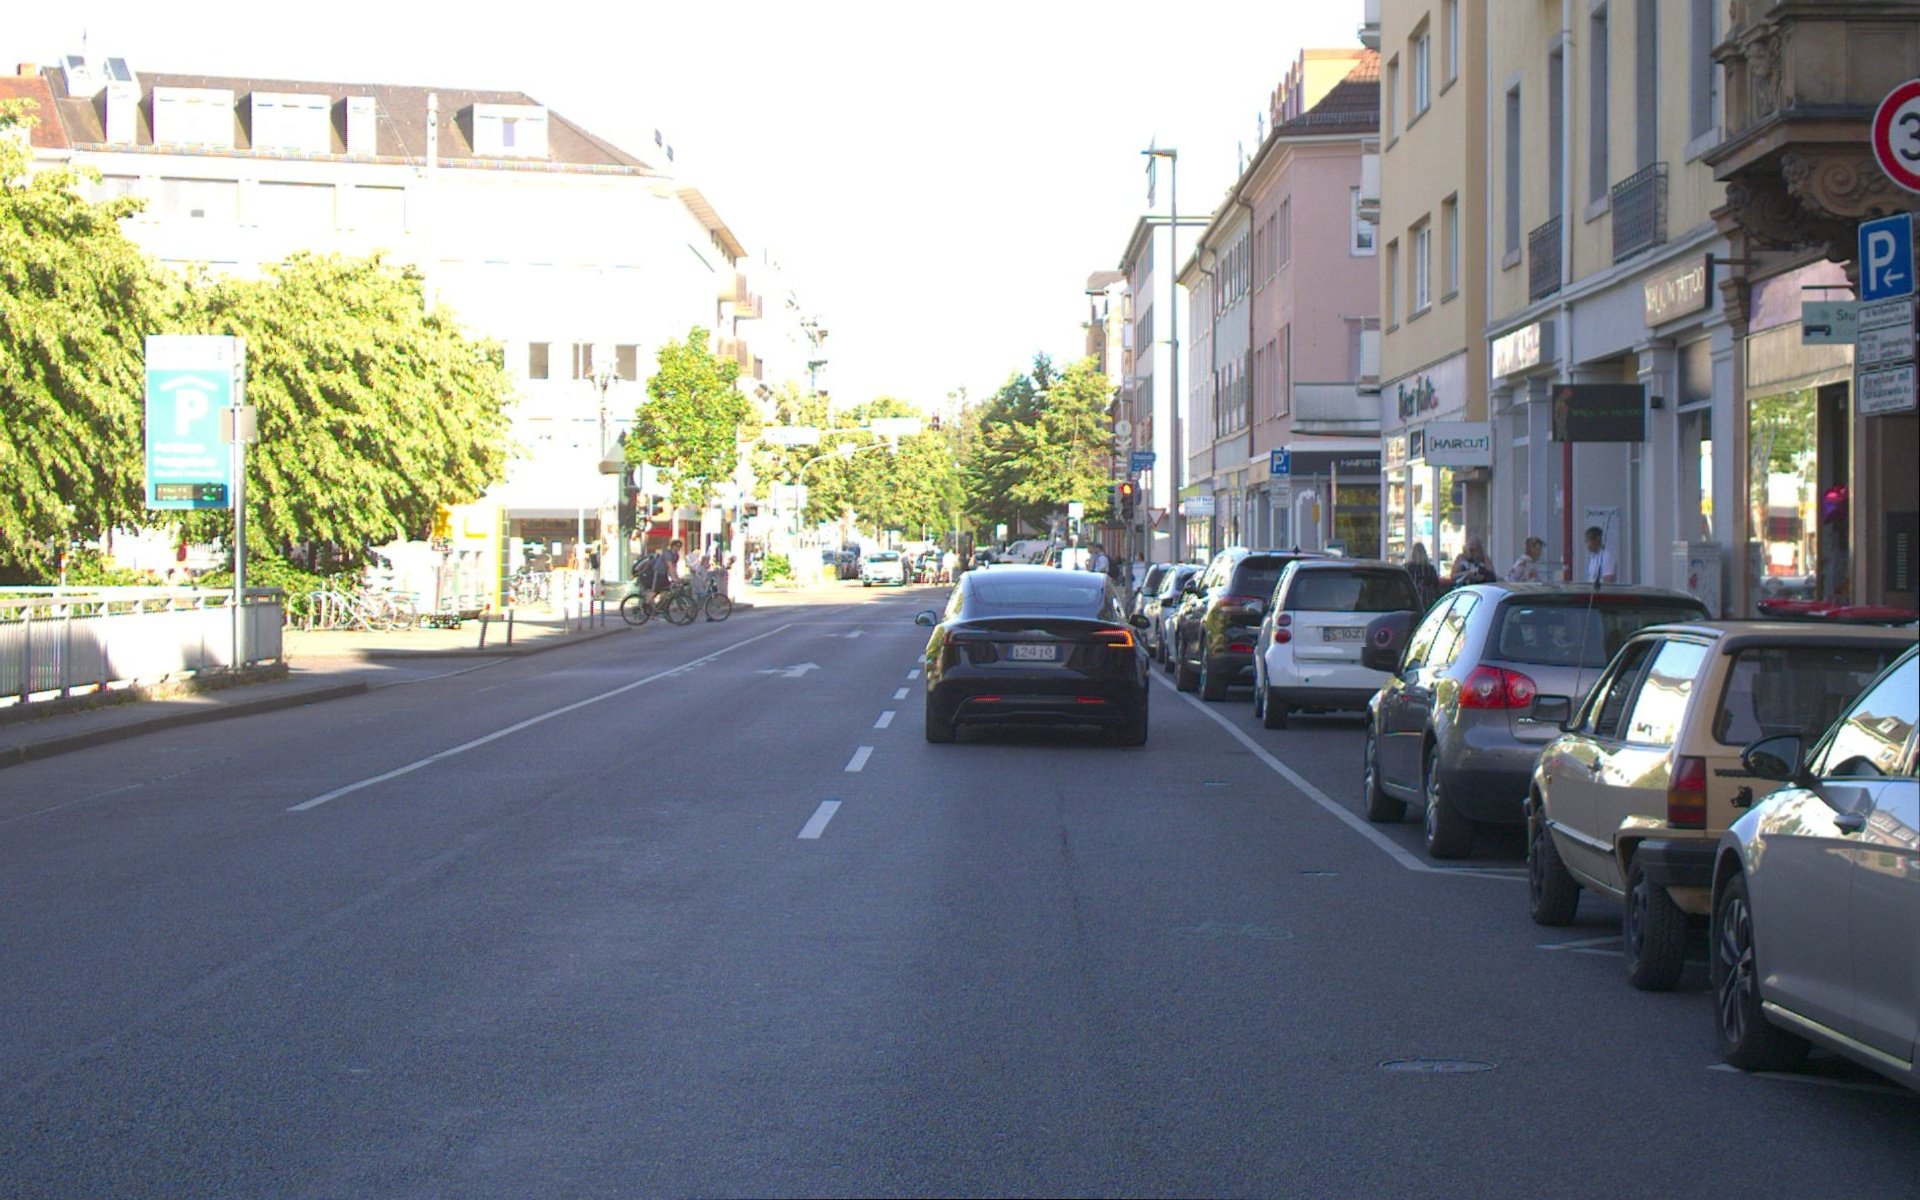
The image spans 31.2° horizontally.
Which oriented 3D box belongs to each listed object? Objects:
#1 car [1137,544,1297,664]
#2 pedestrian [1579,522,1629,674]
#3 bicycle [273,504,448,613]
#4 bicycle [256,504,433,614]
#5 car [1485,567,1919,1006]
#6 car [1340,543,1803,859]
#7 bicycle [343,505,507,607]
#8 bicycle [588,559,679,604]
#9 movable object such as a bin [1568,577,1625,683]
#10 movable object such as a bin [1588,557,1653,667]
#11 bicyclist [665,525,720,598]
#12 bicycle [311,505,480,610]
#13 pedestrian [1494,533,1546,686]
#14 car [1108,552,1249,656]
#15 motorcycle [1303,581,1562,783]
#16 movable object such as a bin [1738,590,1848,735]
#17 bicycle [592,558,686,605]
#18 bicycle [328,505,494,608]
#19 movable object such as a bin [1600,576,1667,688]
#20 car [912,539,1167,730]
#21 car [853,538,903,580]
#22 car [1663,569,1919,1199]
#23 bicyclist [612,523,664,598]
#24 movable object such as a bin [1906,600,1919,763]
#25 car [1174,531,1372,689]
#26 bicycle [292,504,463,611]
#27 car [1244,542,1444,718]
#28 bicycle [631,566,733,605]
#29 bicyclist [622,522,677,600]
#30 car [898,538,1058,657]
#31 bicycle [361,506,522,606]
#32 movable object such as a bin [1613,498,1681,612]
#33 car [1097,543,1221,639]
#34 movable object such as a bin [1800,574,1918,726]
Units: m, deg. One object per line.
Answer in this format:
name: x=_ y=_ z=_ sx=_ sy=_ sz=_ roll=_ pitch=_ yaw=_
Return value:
car: x=3.300 y=0.055 z=44.743 sx=1.792 sy=1.455 sz=4.084 roll=1 pitch=0 yaw=1
pedestrian: x=6.962 y=-0.024 z=37.164 sx=0.470 sy=1.630 sz=0.513 roll=1 pitch=1 yaw=6
bicycle: x=-11.351 y=-0.792 z=65.130 sx=3.122 sy=2.007 sz=0.908 roll=1 pitch=1 yaw=10
bicycle: x=-11.478 y=-0.767 z=64.176 sx=3.122 sy=2.007 sz=0.908 roll=1 pitch=1 yaw=10
car: x=3.195 y=0.632 z=13.776 sx=1.608 sy=1.444 sz=3.830 roll=1 pitch=1 yaw=1
car: x=3.335 y=0.477 z=19.563 sx=1.839 sy=1.541 sz=4.228 roll=1 pitch=1 yaw=0
bicycle: x=-10.776 y=-0.889 z=69.277 sx=3.122 sy=2.007 sz=0.908 roll=1 pitch=1 yaw=10
bicycle: x=-7.403 y=-0.423 z=77.916 sx=2.011 sy=1.018 sz=0.762 roll=0 pitch=1 yaw=-2
movable object such as a bin: x=6.456 y=0.301 z=34.863 sx=0.455 sy=1.048 sz=0.500 roll=-2 pitch=1 yaw=0
movable object such as a bin: x=6.494 y=0.112 z=33.819 sx=0.478 sy=1.048 sz=0.632 roll=-2 pitch=1 yaw=0
bicyclist: x=-6.233 y=-0.900 z=80.144 sx=1.146 sy=1.680 sz=0.914 roll=0 pitch=1 yaw=4
bicycle: x=-11.017 y=-0.829 z=67.161 sx=3.122 sy=2.007 sz=0.908 roll=1 pitch=1 yaw=10
pedestrian: x=6.026 y=0.093 z=36.960 sx=0.471 sy=1.630 sz=0.513 roll=1 pitch=1 yaw=17
car: x=3.224 y=0.062 z=51.377 sx=1.792 sy=1.455 sz=3.868 roll=1 pitch=0 yaw=0
motorcycle: x=3.280 y=0.539 z=23.717 sx=2.039 sy=1.323 sz=0.656 roll=-1 pitch=1 yaw=-45
movable object such as a bin: x=6.406 y=0.473 z=26.455 sx=0.644 sy=1.072 sz=0.819 roll=-2 pitch=1 yaw=2
bicycle: x=-7.006 y=-0.411 z=75.155 sx=2.011 sy=1.018 sz=0.888 roll=0 pitch=1 yaw=-2
bicycle: x=-10.902 y=-0.862 z=68.241 sx=3.122 sy=2.007 sz=0.908 roll=1 pitch=1 yaw=10
movable object such as a bin: x=6.485 y=0.303 z=33.114 sx=0.495 sy=1.048 sz=0.632 roll=-2 pitch=1 yaw=0
car: x=0.615 y=0.278 z=29.525 sx=1.995 sy=1.475 sz=4.495 roll=1 pitch=0 yaw=0
car: x=-3.650 y=-1.848 z=153.381 sx=1.993 sy=1.765 sz=4.000 roll=1 pitch=2 yaw=2
car: x=3.181 y=0.709 z=8.998 sx=1.839 sy=1.482 sz=4.184 roll=1 pitch=1 yaw=1
bicyclist: x=-7.293 y=-0.894 z=77.914 sx=1.146 sy=1.680 sz=0.819 roll=0 pitch=1 yaw=-3
movable object such as a bin: x=6.478 y=0.519 z=21.953 sx=0.679 sy=1.040 sz=0.626 roll=-2 pitch=1 yaw=1
car: x=3.423 y=0.108 z=38.237 sx=1.716 sy=1.630 sz=4.084 roll=1 pitch=0 yaw=-1
bicycle: x=-11.198 y=-0.821 z=66.119 sx=3.122 sy=2.007 sz=0.908 roll=1 pitch=1 yaw=10
car: x=3.576 y=0.246 z=32.405 sx=1.613 sy=1.541 sz=2.855 roll=1 pitch=1 yaw=2
bicycle: x=-6.472 y=-0.341 z=80.160 sx=2.244 sy=0.880 sz=0.923 roll=0 pitch=1 yaw=5
bicyclist: x=-6.789 y=-0.853 z=75.151 sx=1.146 sy=1.680 sz=0.919 roll=0 pitch=1 yaw=-3
car: x=0.282 y=-0.071 z=45.204 sx=1.935 sy=1.482 sz=4.271 roll=0 pitch=1 yaw=2
bicycle: x=-10.605 y=-0.903 z=70.316 sx=3.122 sy=2.007 sz=0.908 roll=1 pitch=1 yaw=10
movable object such as a bin: x=6.431 y=-0.422 z=32.203 sx=0.478 sy=1.048 sz=0.632 roll=-2 pitch=1 yaw=0
car: x=3.174 y=-0.131 z=55.516 sx=1.792 sy=1.455 sz=3.868 roll=1 pitch=0 yaw=1
movable object such as a bin: x=6.416 y=0.350 z=24.554 sx=0.644 sy=1.048 sz=0.632 roll=-2 pitch=1 yaw=0
